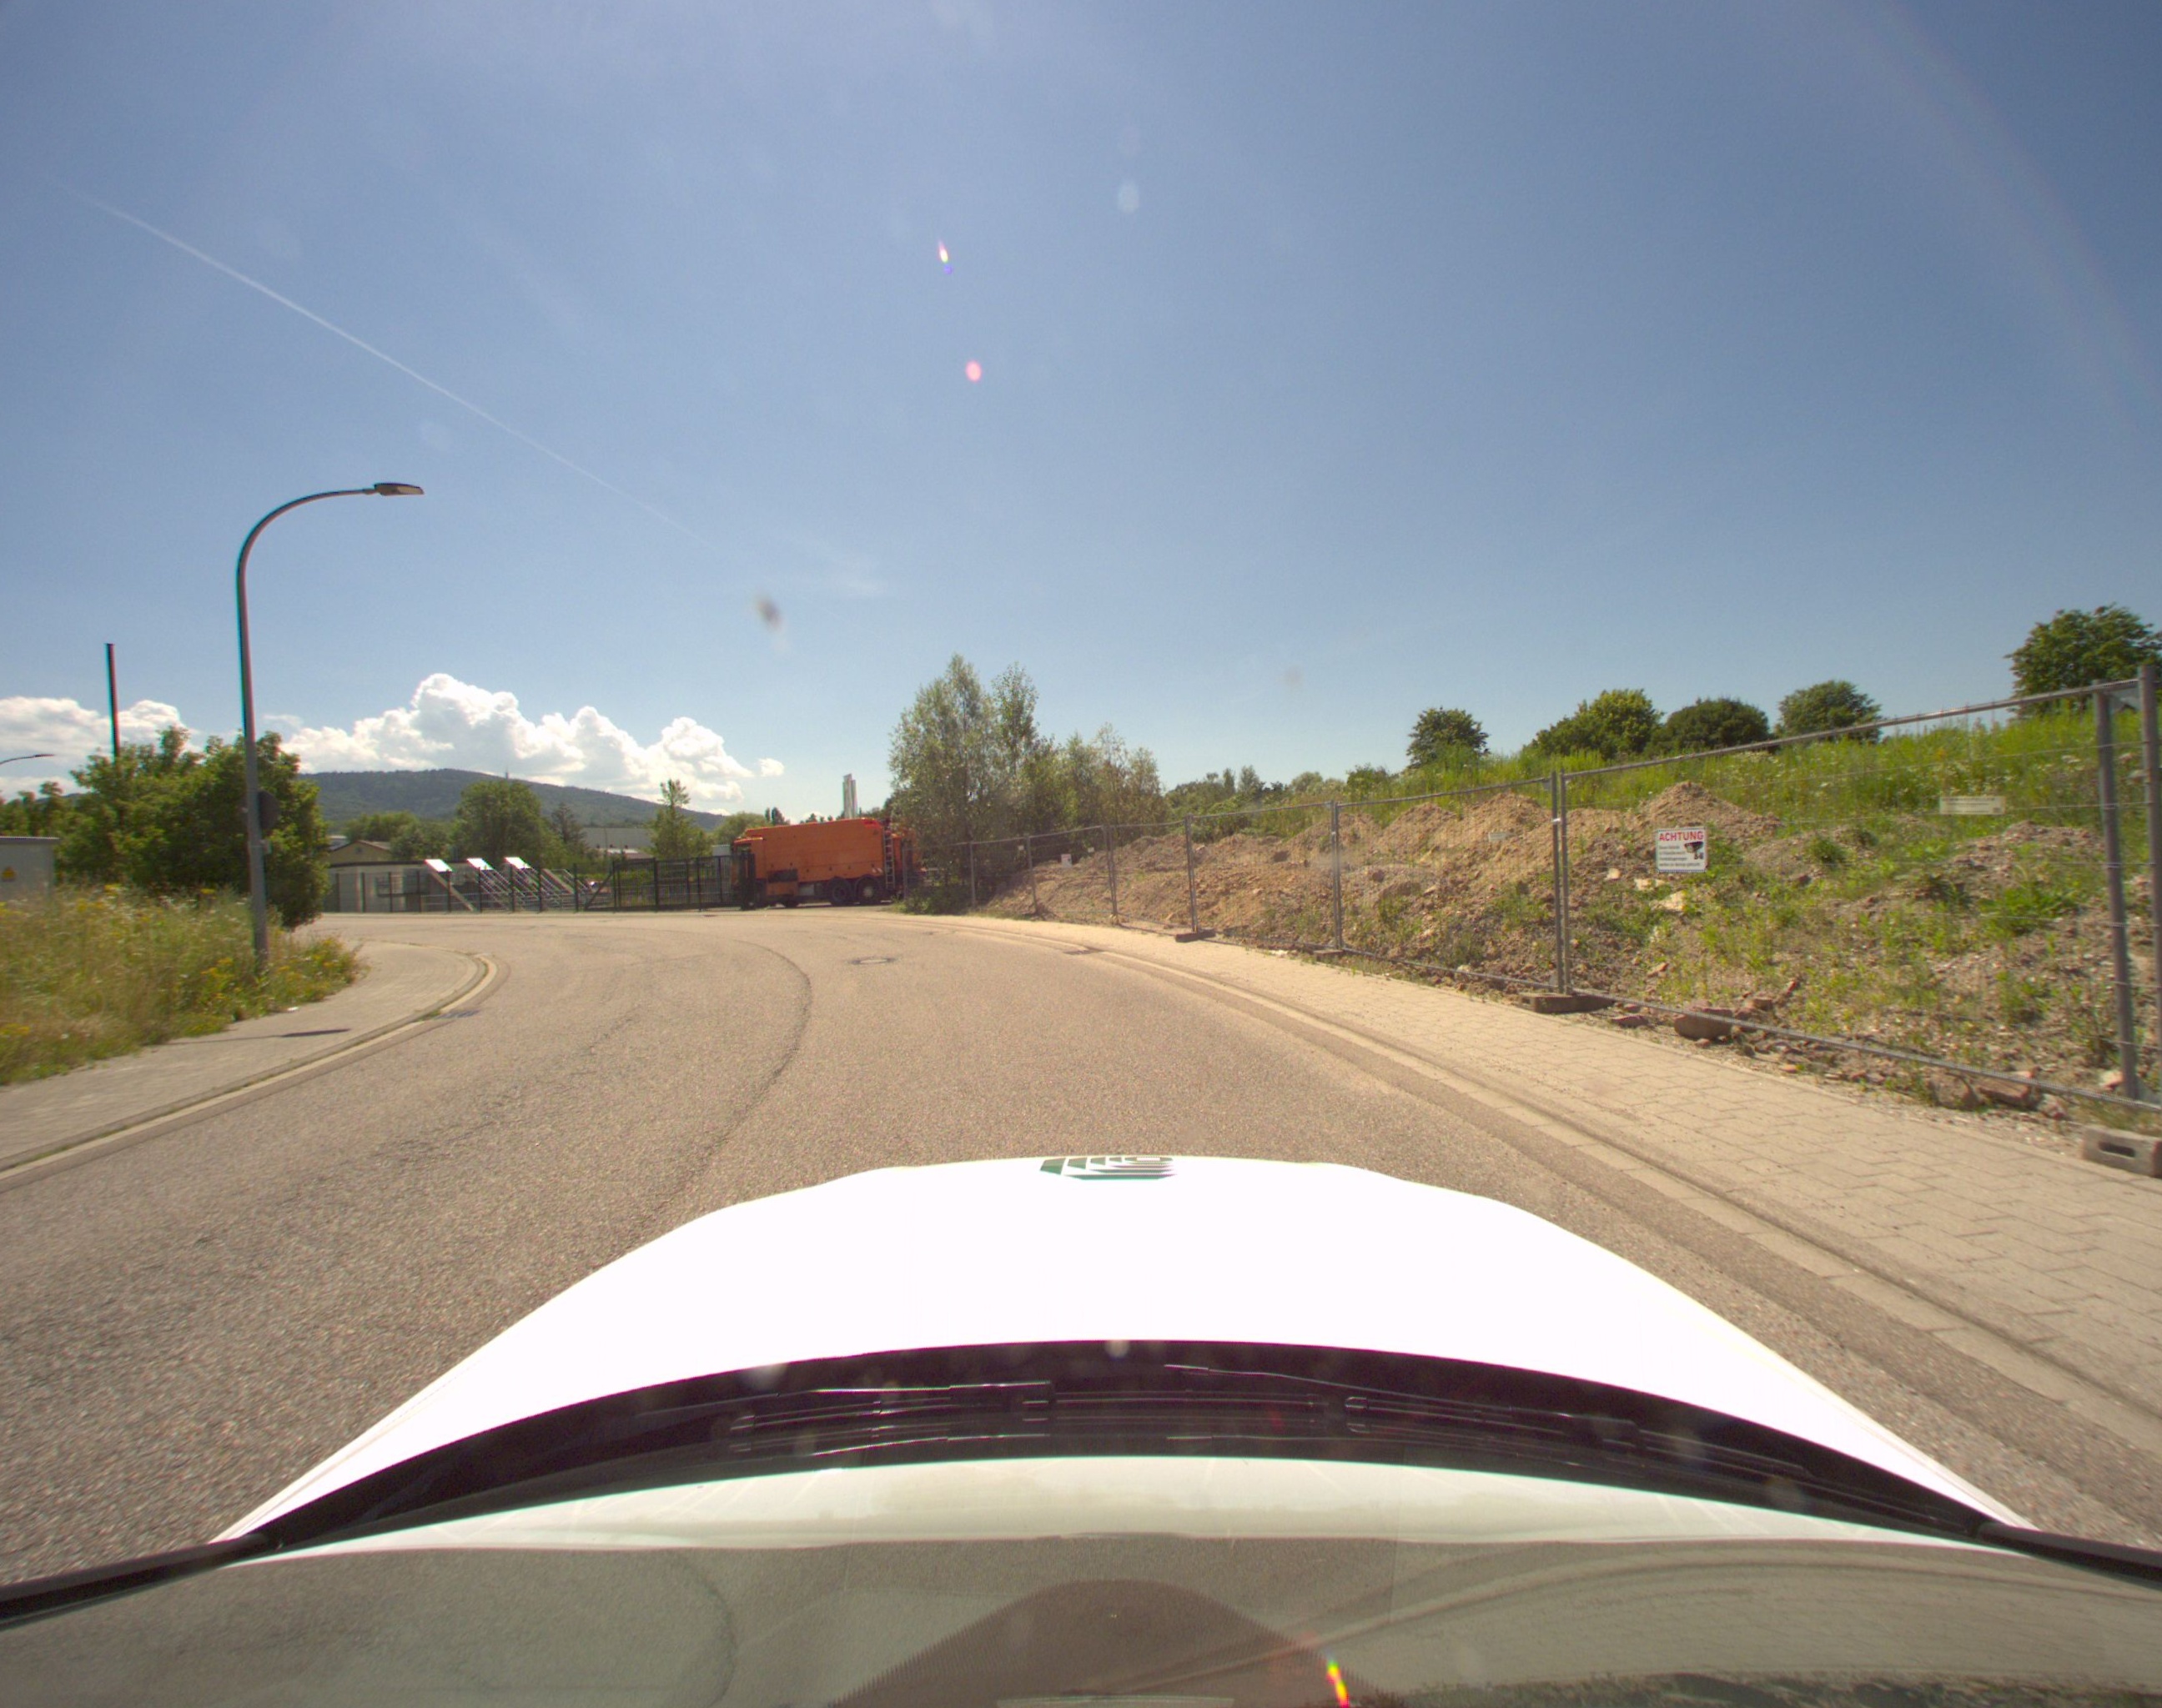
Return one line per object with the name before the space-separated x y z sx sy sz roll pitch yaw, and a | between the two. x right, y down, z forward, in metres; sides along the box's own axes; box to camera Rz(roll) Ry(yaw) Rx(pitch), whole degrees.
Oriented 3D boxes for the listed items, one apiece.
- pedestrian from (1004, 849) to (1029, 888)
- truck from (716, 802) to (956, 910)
pedestrian | -3.138 0.695 39.714 0.869 1.824 0.744 -2 1 19
truck | -10.204 0.106 34.254 8.516 3.806 4.184 -3 0 17
